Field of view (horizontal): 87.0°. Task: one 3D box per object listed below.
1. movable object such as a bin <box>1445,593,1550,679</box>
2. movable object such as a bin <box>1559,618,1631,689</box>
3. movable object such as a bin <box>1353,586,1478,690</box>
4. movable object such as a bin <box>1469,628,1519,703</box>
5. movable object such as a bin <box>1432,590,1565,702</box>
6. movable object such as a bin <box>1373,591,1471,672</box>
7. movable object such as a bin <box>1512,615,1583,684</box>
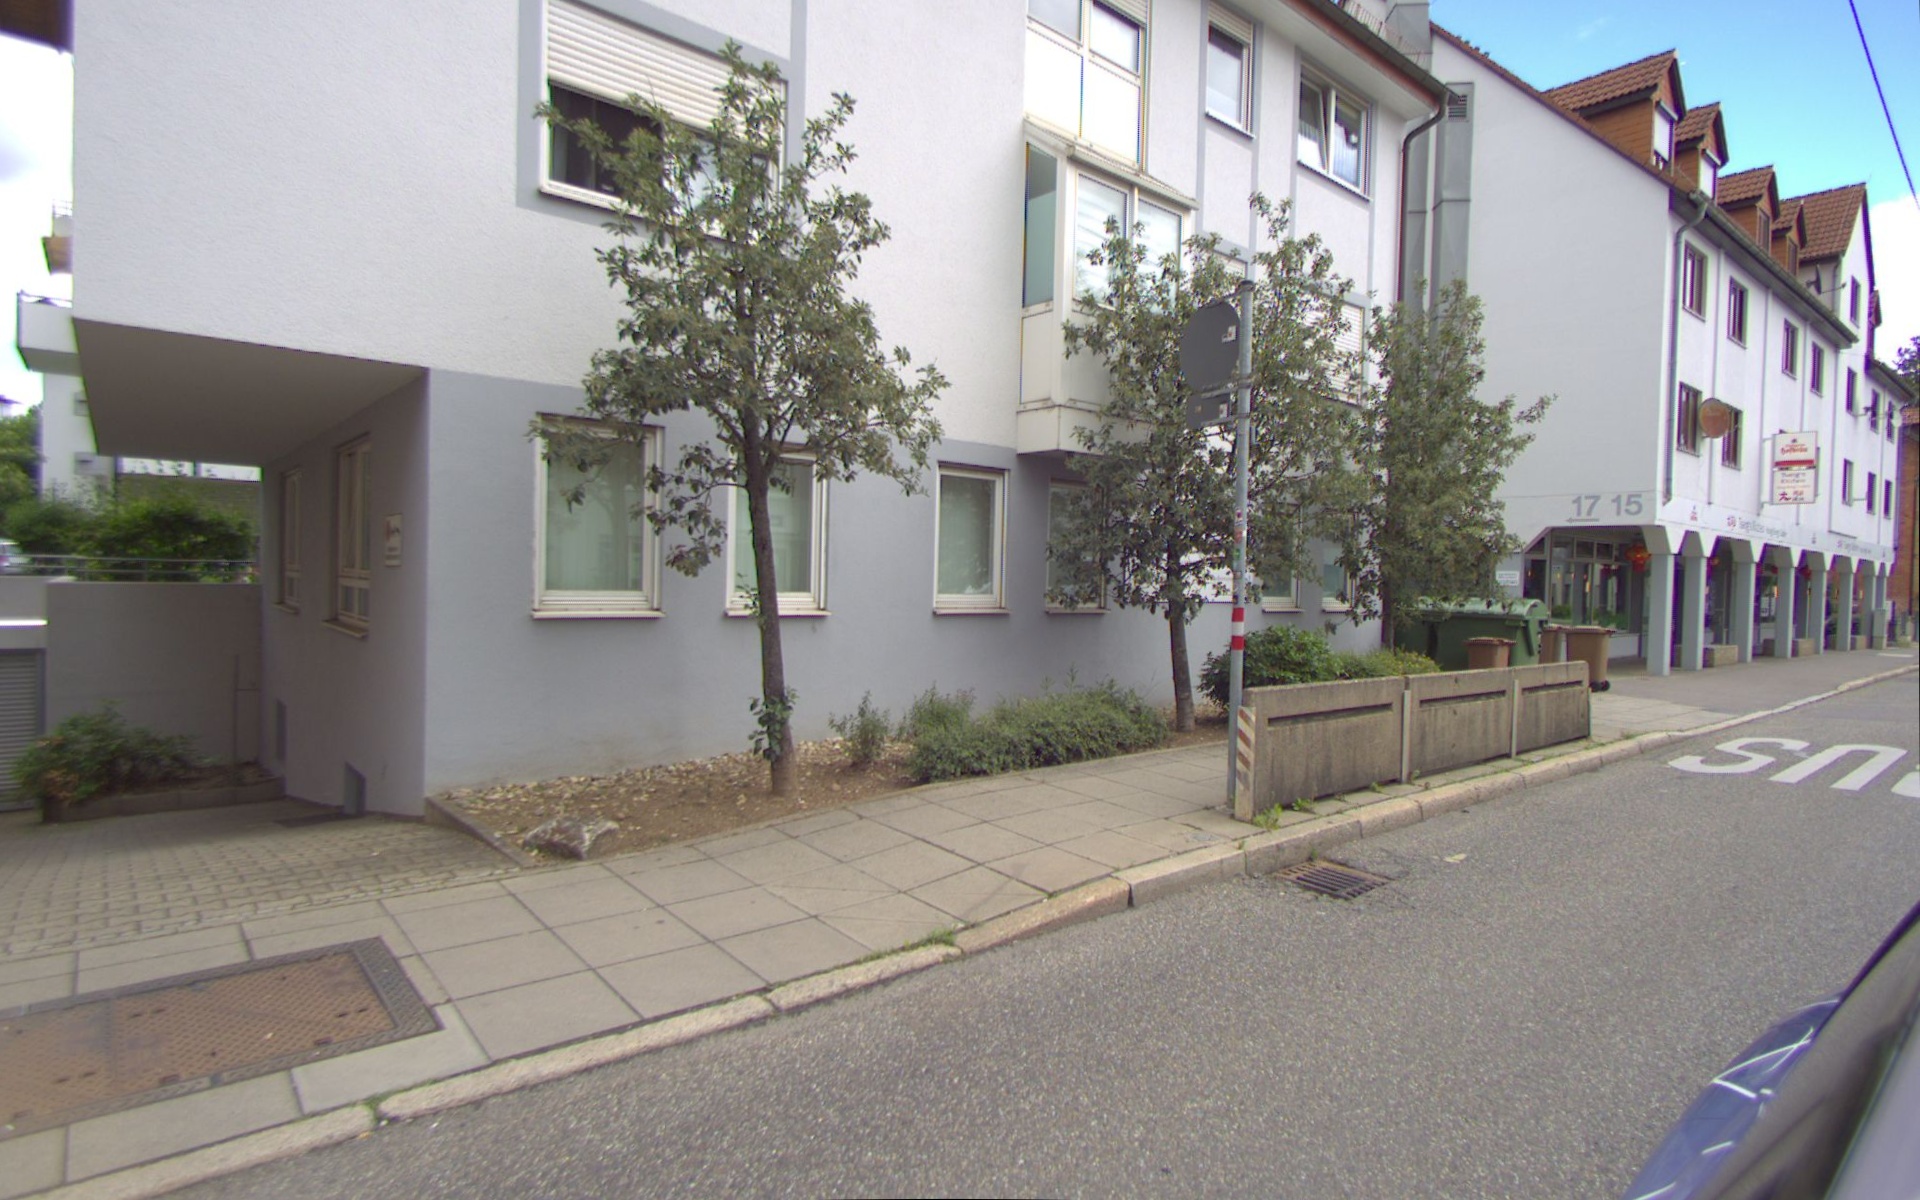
[{"bbox_3d":[9.609,0.618,18.110,1.236,1.435,1.213,1,1,-37],"label":"movable object such as a bin"},{"bbox_3d":[10.399,0.852,16.573,0.953,1.080,0.685,1,1,-37],"label":"movable object such as a bin"},{"bbox_3d":[6.906,0.539,15.362,1.284,1.453,1.270,1,1,-40],"label":"movable object such as a bin"},{"bbox_3d":[7.038,0.849,13.339,0.457,0.932,0.431,1,1,-40],"label":"movable object such as a bin"},{"bbox_3d":[7.478,0.601,14.065,1.141,1.435,1.270,1,1,-40],"label":"movable object such as a bin"},{"bbox_3d":[8.751,0.572,19.173,1.236,1.435,1.213,1,1,-37],"label":"movable object such as a bin"},{"bbox_3d":[9.952,0.824,17.154,0.953,1.092,0.700,1,1,-37],"label":"movable object such as a bin"}]
